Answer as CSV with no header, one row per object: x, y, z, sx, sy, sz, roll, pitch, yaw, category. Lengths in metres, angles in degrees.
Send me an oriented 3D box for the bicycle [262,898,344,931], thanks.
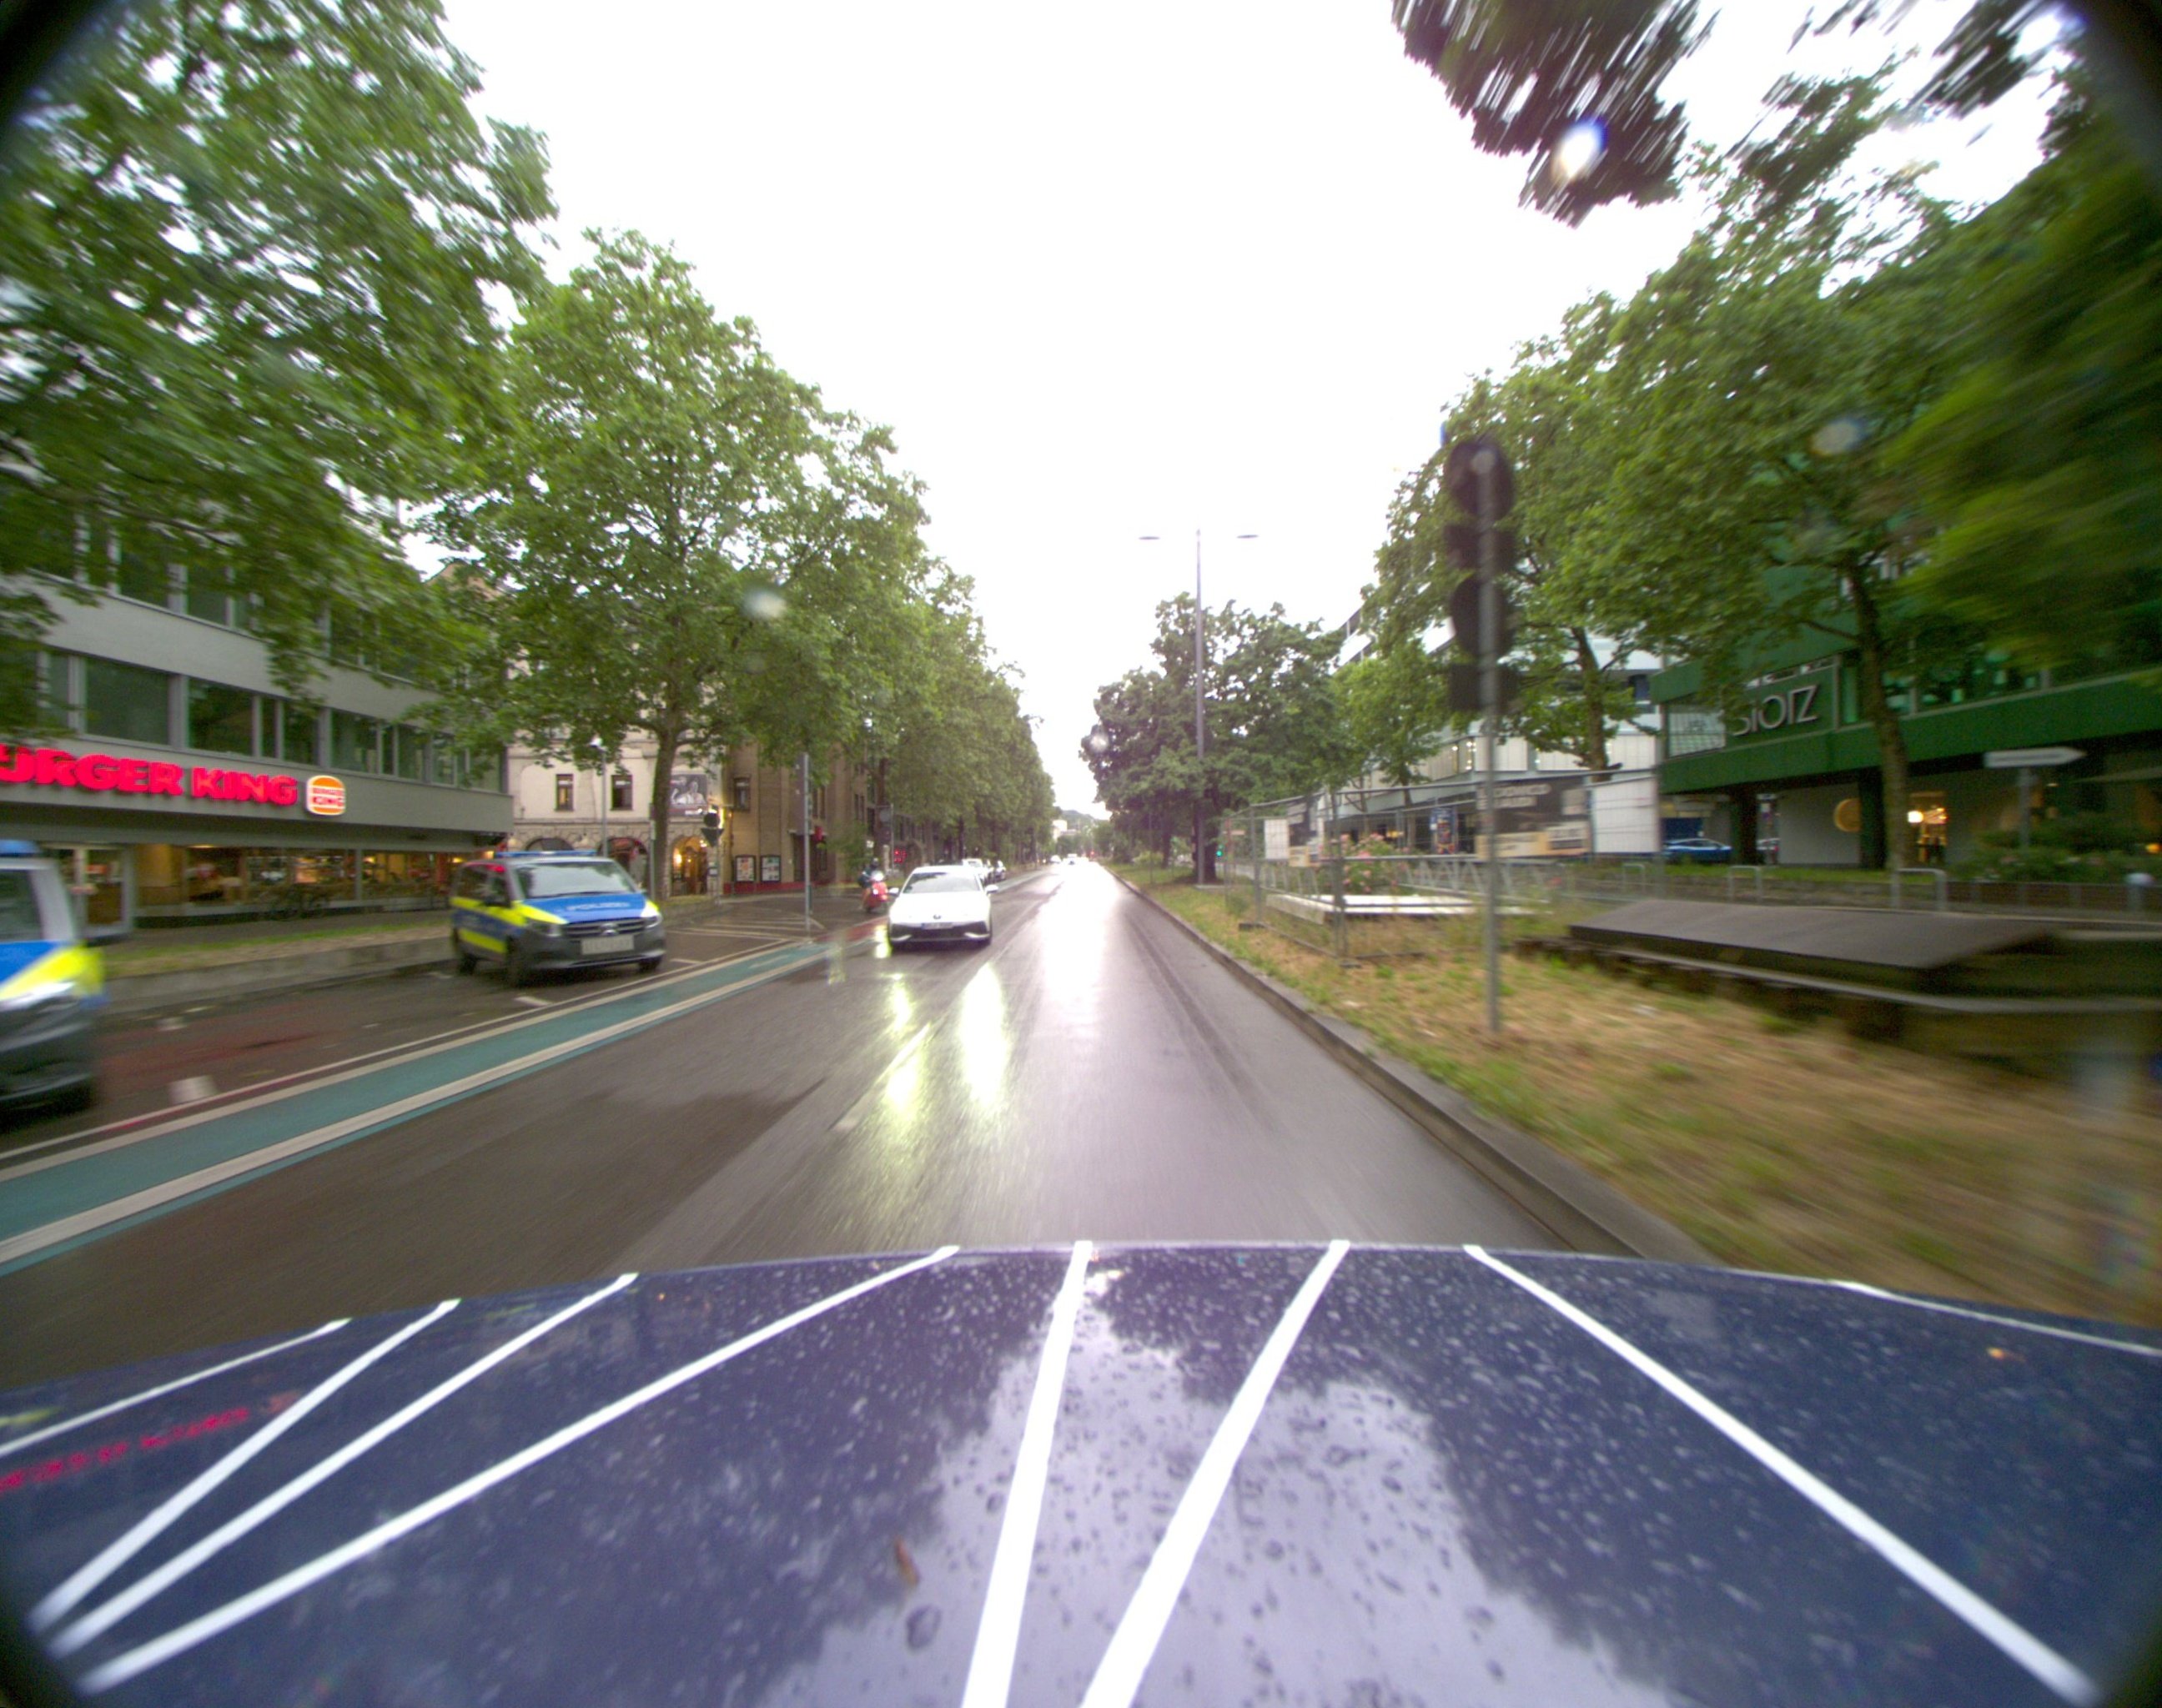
-23.167,1.773,22.688,0.643,0.814,1.912,-1,0,-8,bicycle

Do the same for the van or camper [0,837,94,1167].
-9.039,1.005,5.639,5.074,2.007,2.001,-2,0,37,van or camper

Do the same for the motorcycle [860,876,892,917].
-6.374,1.290,23.600,0.869,1.136,2.019,-2,0,-17,motorcycle

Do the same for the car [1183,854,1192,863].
16.985,0.672,121.594,1.163,1.454,3.561,-1,0,3,car

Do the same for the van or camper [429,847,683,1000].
-8.671,0.972,12.367,4.933,1.980,2.006,-2,1,39,van or camper

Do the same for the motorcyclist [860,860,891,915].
-6.377,1.031,23.584,0.850,1.635,0.870,-2,1,-17,motorcyclist

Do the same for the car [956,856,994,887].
-5.912,0.948,42.768,1.756,1.576,4.409,-2,0,-3,car

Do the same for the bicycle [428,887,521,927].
-17.754,1.591,22.314,0.642,0.917,1.917,28,0,12,bicycle

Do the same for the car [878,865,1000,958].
-2.618,0.996,15.032,1.867,1.436,4.507,-2,0,-5,car

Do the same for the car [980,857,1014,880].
-5.820,1.000,53.200,1.747,1.424,4.586,-2,0,1,car

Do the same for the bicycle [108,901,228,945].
-22.581,1.677,18.863,0.584,0.890,2.075,-2,0,-5,bicycle

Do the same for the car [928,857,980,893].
-6.180,0.984,37.457,1.797,1.593,4.423,-2,0,0,car

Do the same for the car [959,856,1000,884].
-6.303,0.977,47.808,1.999,1.580,4.559,-2,0,-1,car
